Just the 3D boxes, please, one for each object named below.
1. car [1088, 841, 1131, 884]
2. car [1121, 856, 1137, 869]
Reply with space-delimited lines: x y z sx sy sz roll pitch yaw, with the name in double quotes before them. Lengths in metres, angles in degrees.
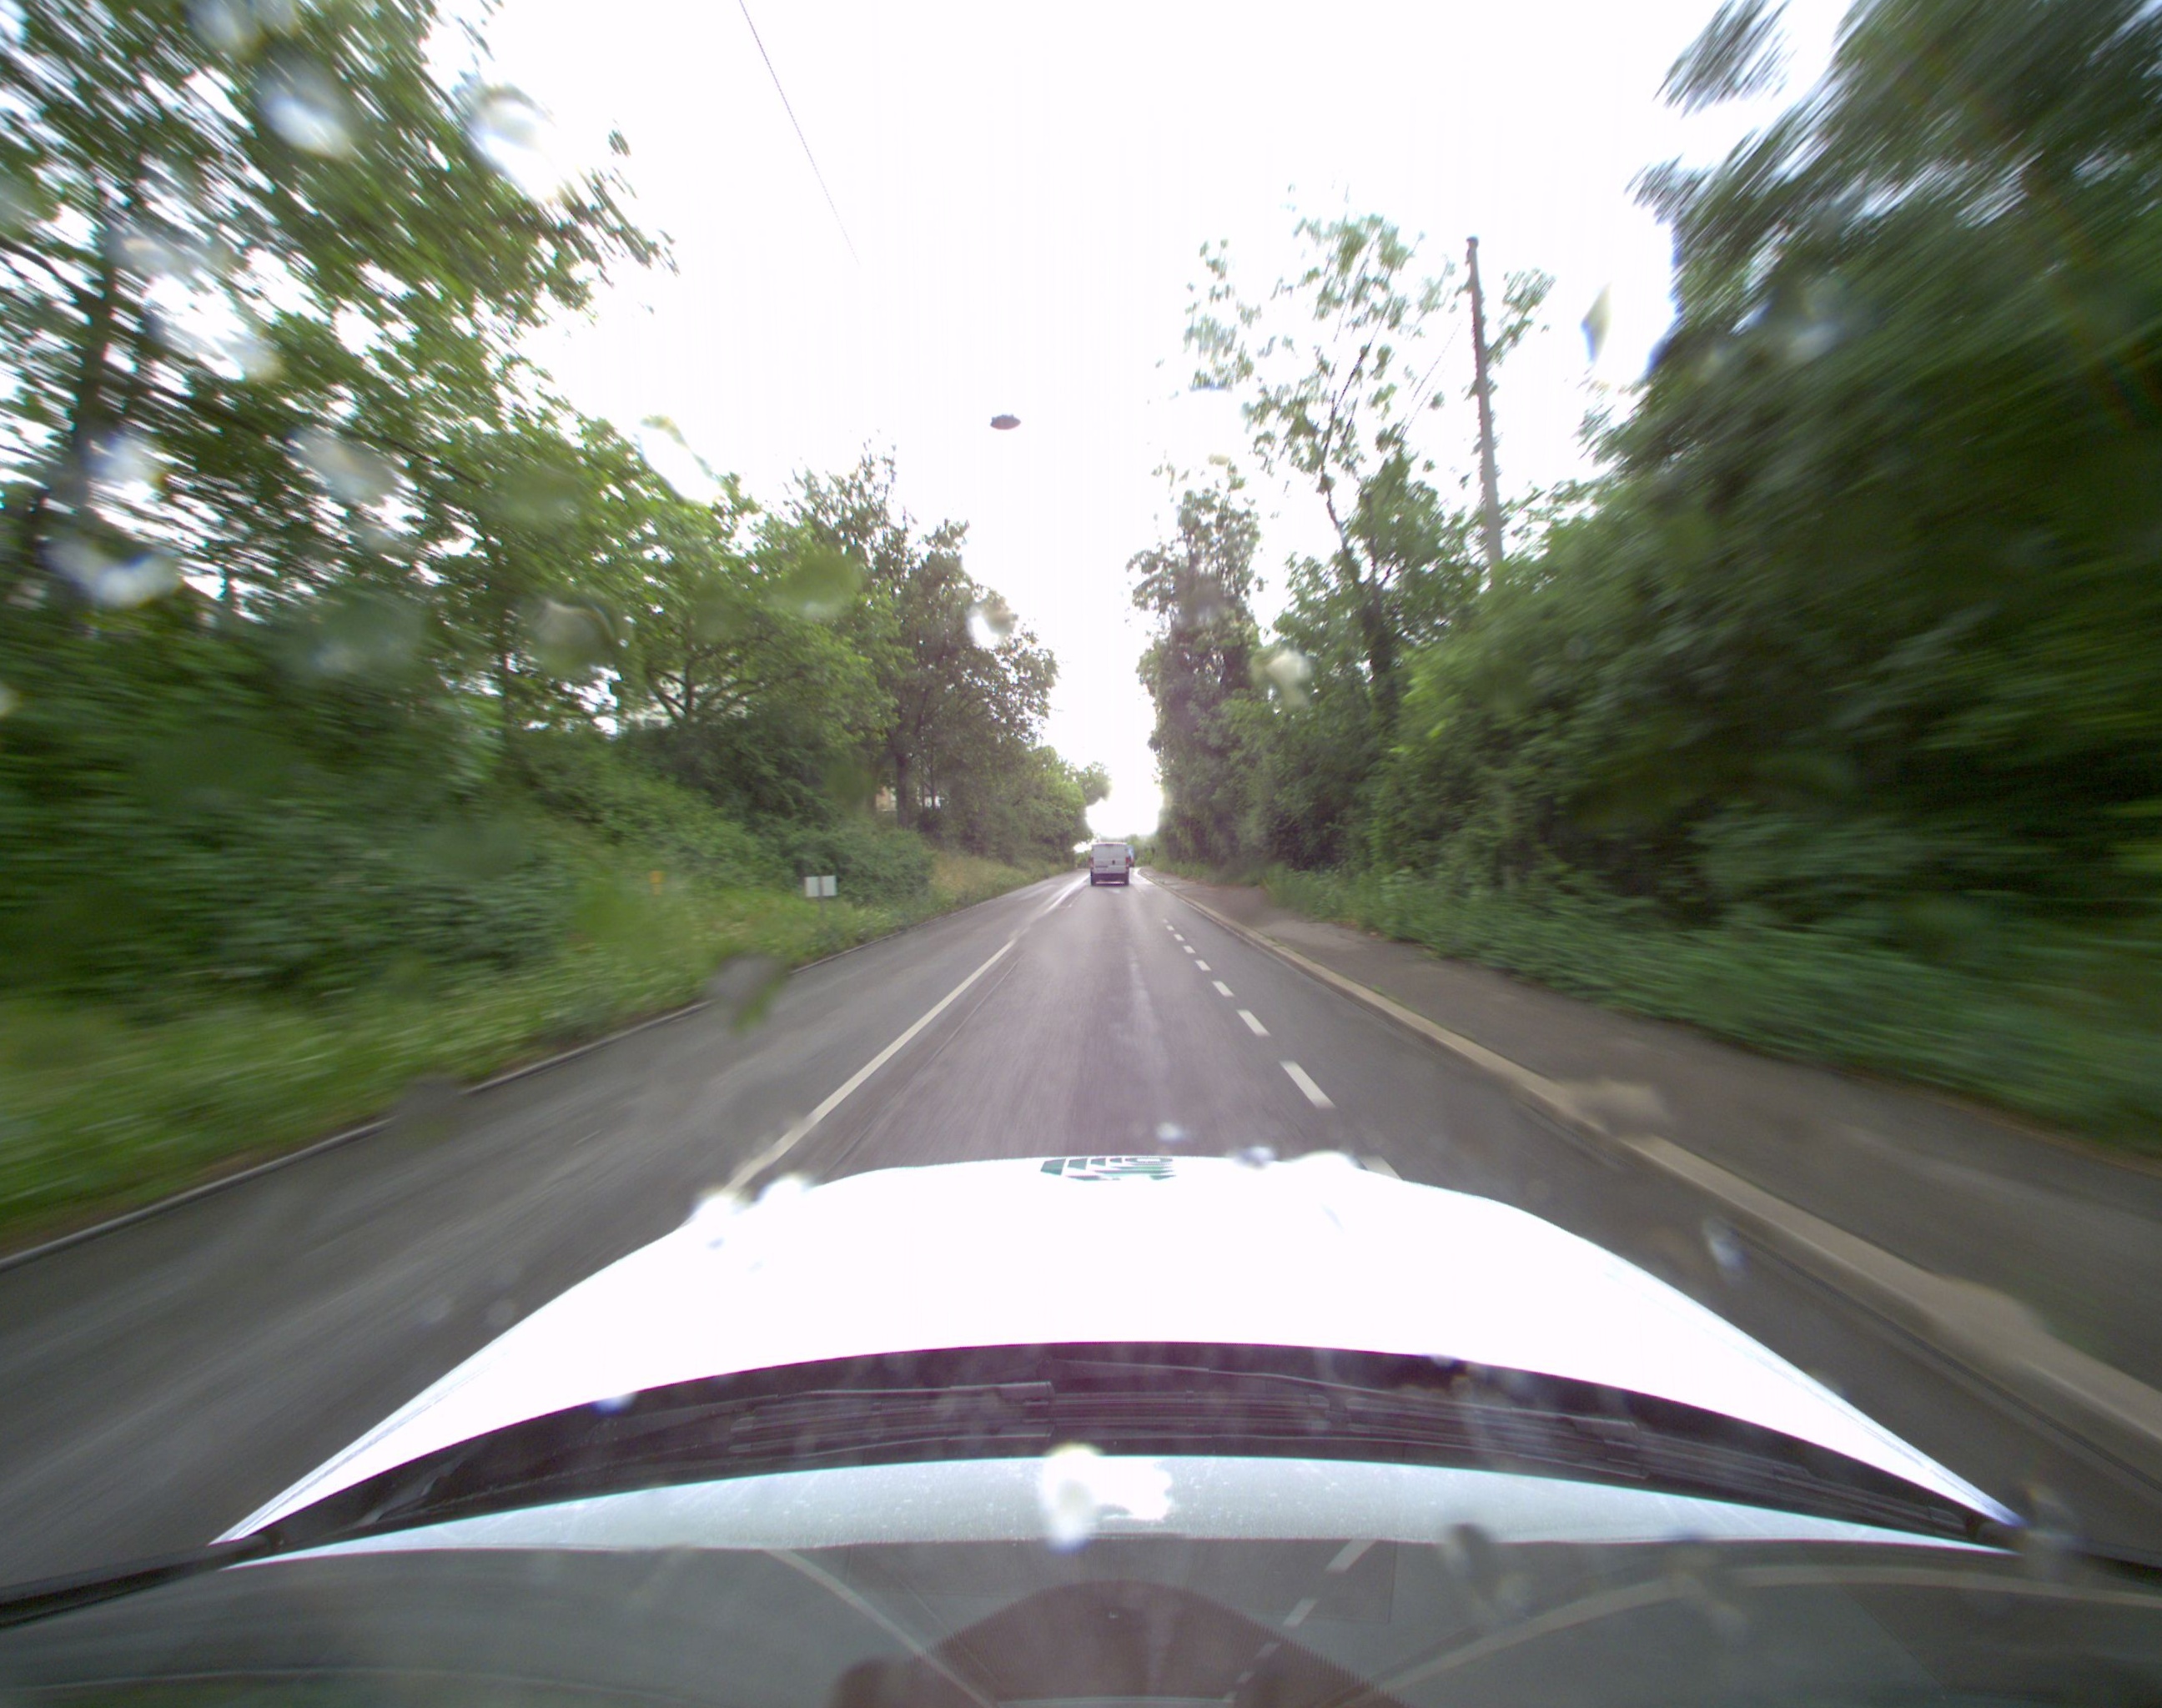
"car" 1.547 0.449 44.214 2.229 2.213 4.715 0 0 2
"car" 6.685 1.164 114.089 2.228 1.804 4.717 0 0 3
